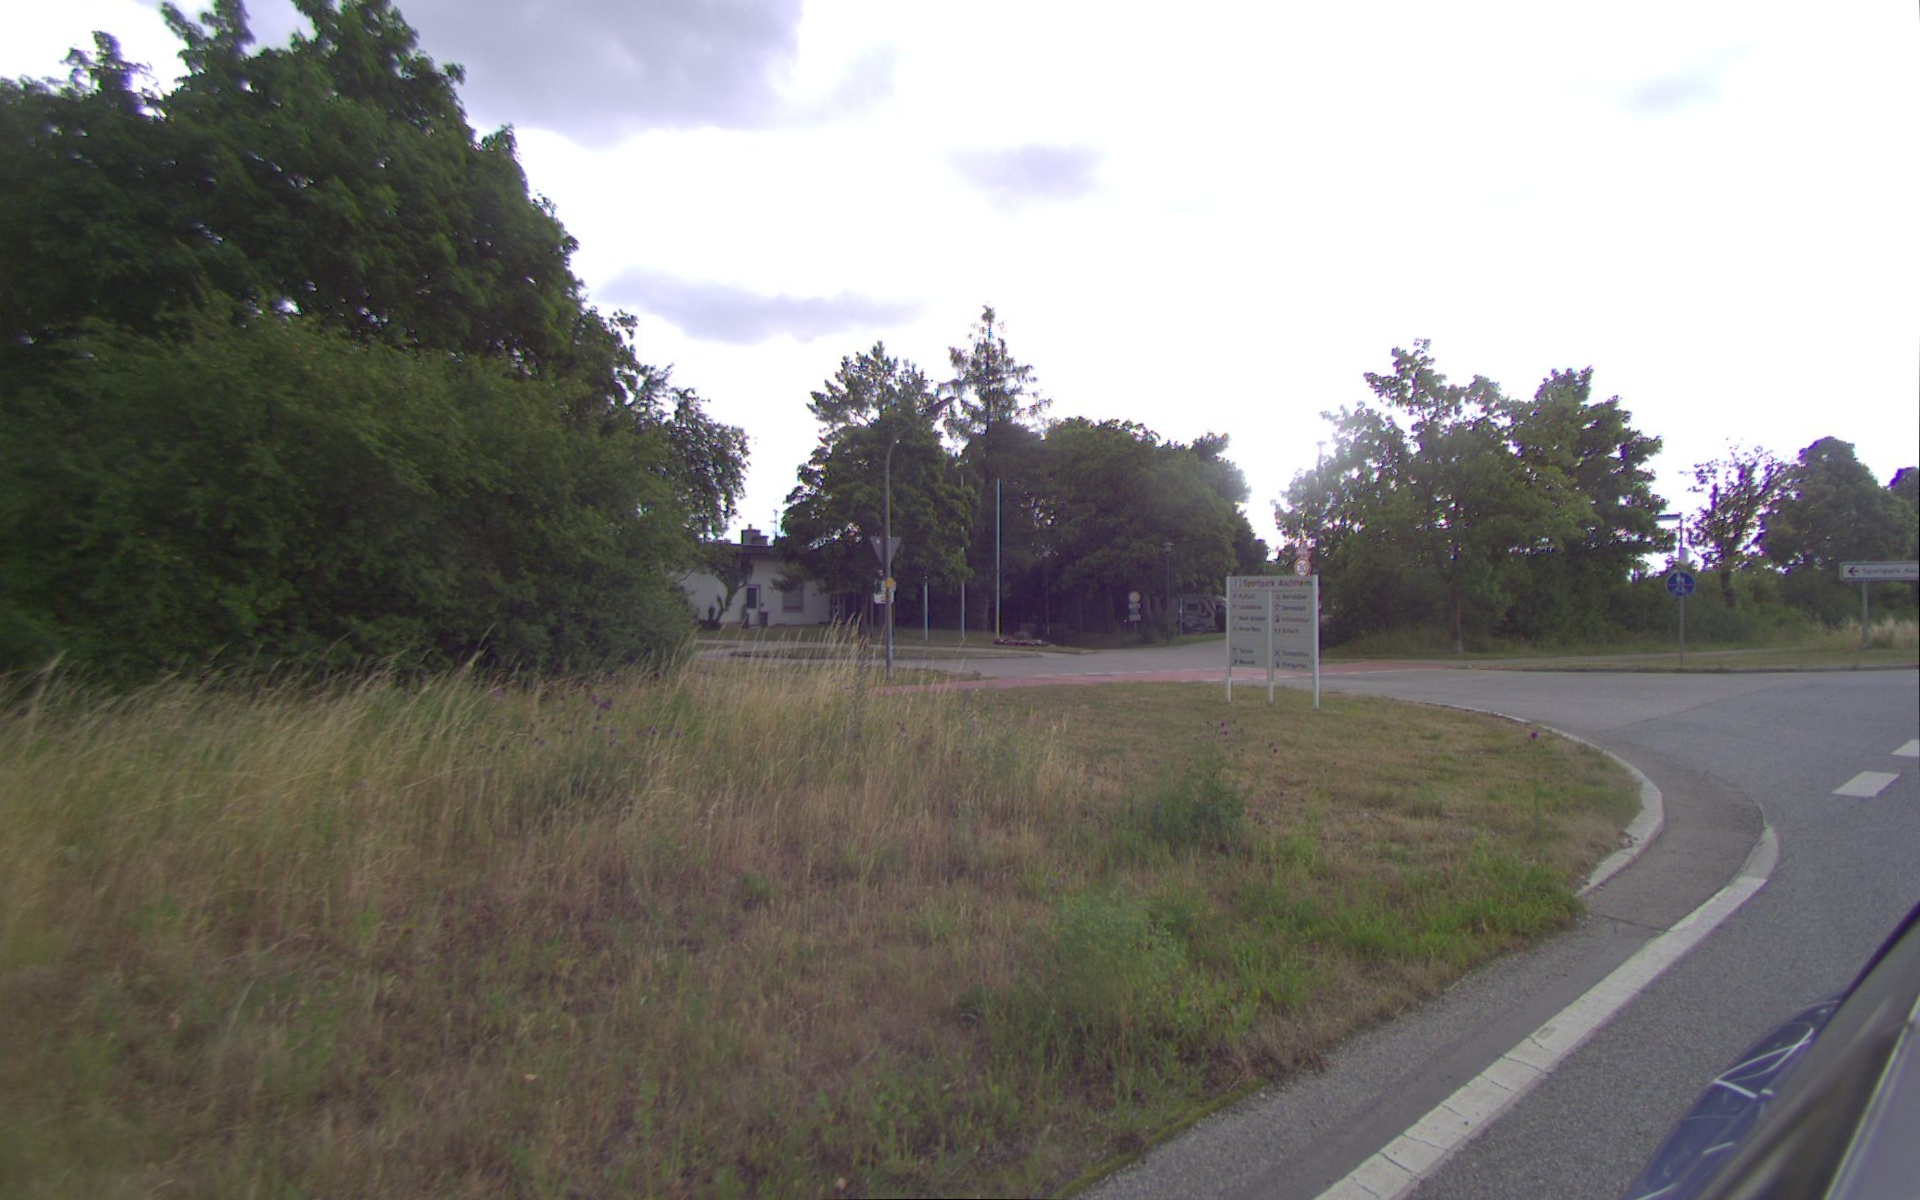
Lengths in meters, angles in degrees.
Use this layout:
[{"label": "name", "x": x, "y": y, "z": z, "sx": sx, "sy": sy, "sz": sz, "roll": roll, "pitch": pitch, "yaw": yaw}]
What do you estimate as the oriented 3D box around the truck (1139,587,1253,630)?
[{"label": "truck", "x": 18.256, "y": 0.616, "z": 78.391, "sx": 8.280, "sy": 3.149, "sz": 3.049, "roll": 0, "pitch": 0, "yaw": 24}]
